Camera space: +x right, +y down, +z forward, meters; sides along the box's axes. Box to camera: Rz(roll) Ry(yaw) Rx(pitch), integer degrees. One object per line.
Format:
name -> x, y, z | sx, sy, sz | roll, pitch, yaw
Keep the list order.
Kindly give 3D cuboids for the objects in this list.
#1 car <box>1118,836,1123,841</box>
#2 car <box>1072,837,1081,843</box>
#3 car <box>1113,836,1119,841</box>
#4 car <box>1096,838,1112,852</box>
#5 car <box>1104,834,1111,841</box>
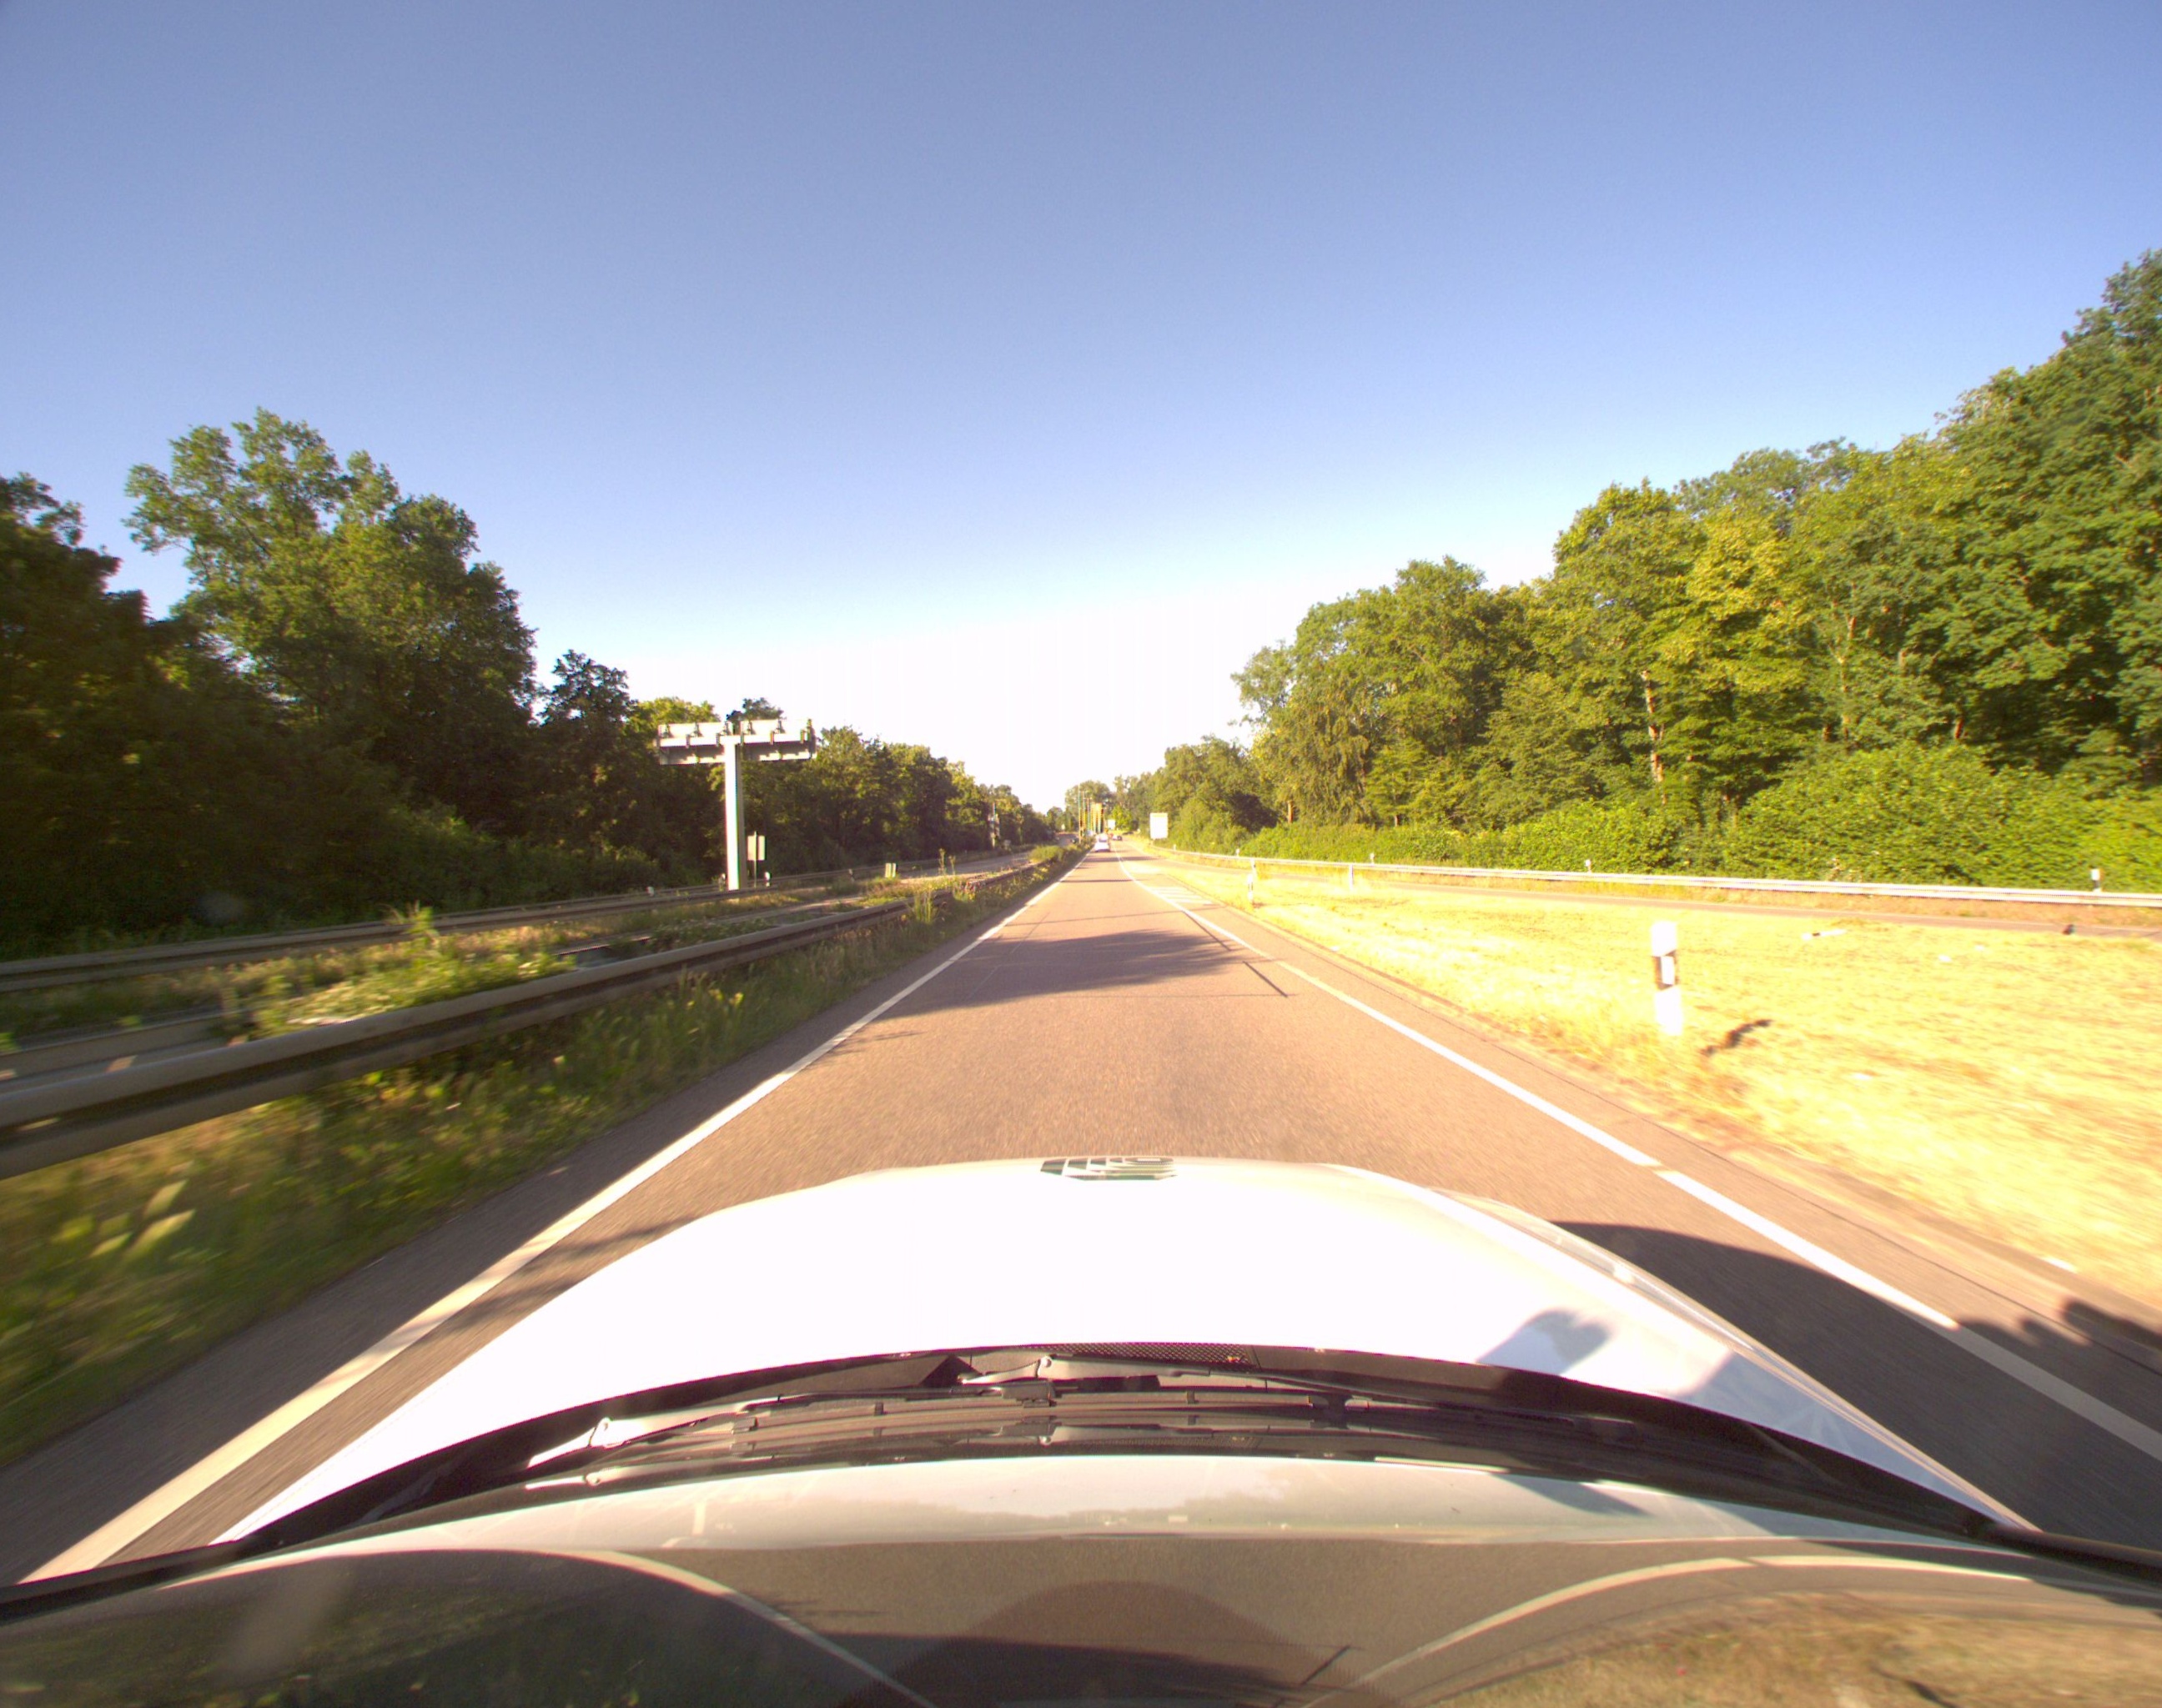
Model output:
car -> 10.774, -4.203, 223.767 | 1.383, 1.280, 2.988 | 1, 0, 2
car -> -1.144, -3.518, 199.699 | 1.773, 1.403, 4.558 | -2, 1, 4
car -> 10.346, -4.547, 240.768 | 1.618, 1.280, 2.988 | 1, 0, 1
car -> 2.863, -1.153, 101.740 | 1.986, 1.639, 4.130 | -2, 2, 1
car -> 7.772, -4.807, 237.818 | 1.986, 1.879, 4.252 | -2, 2, 2
